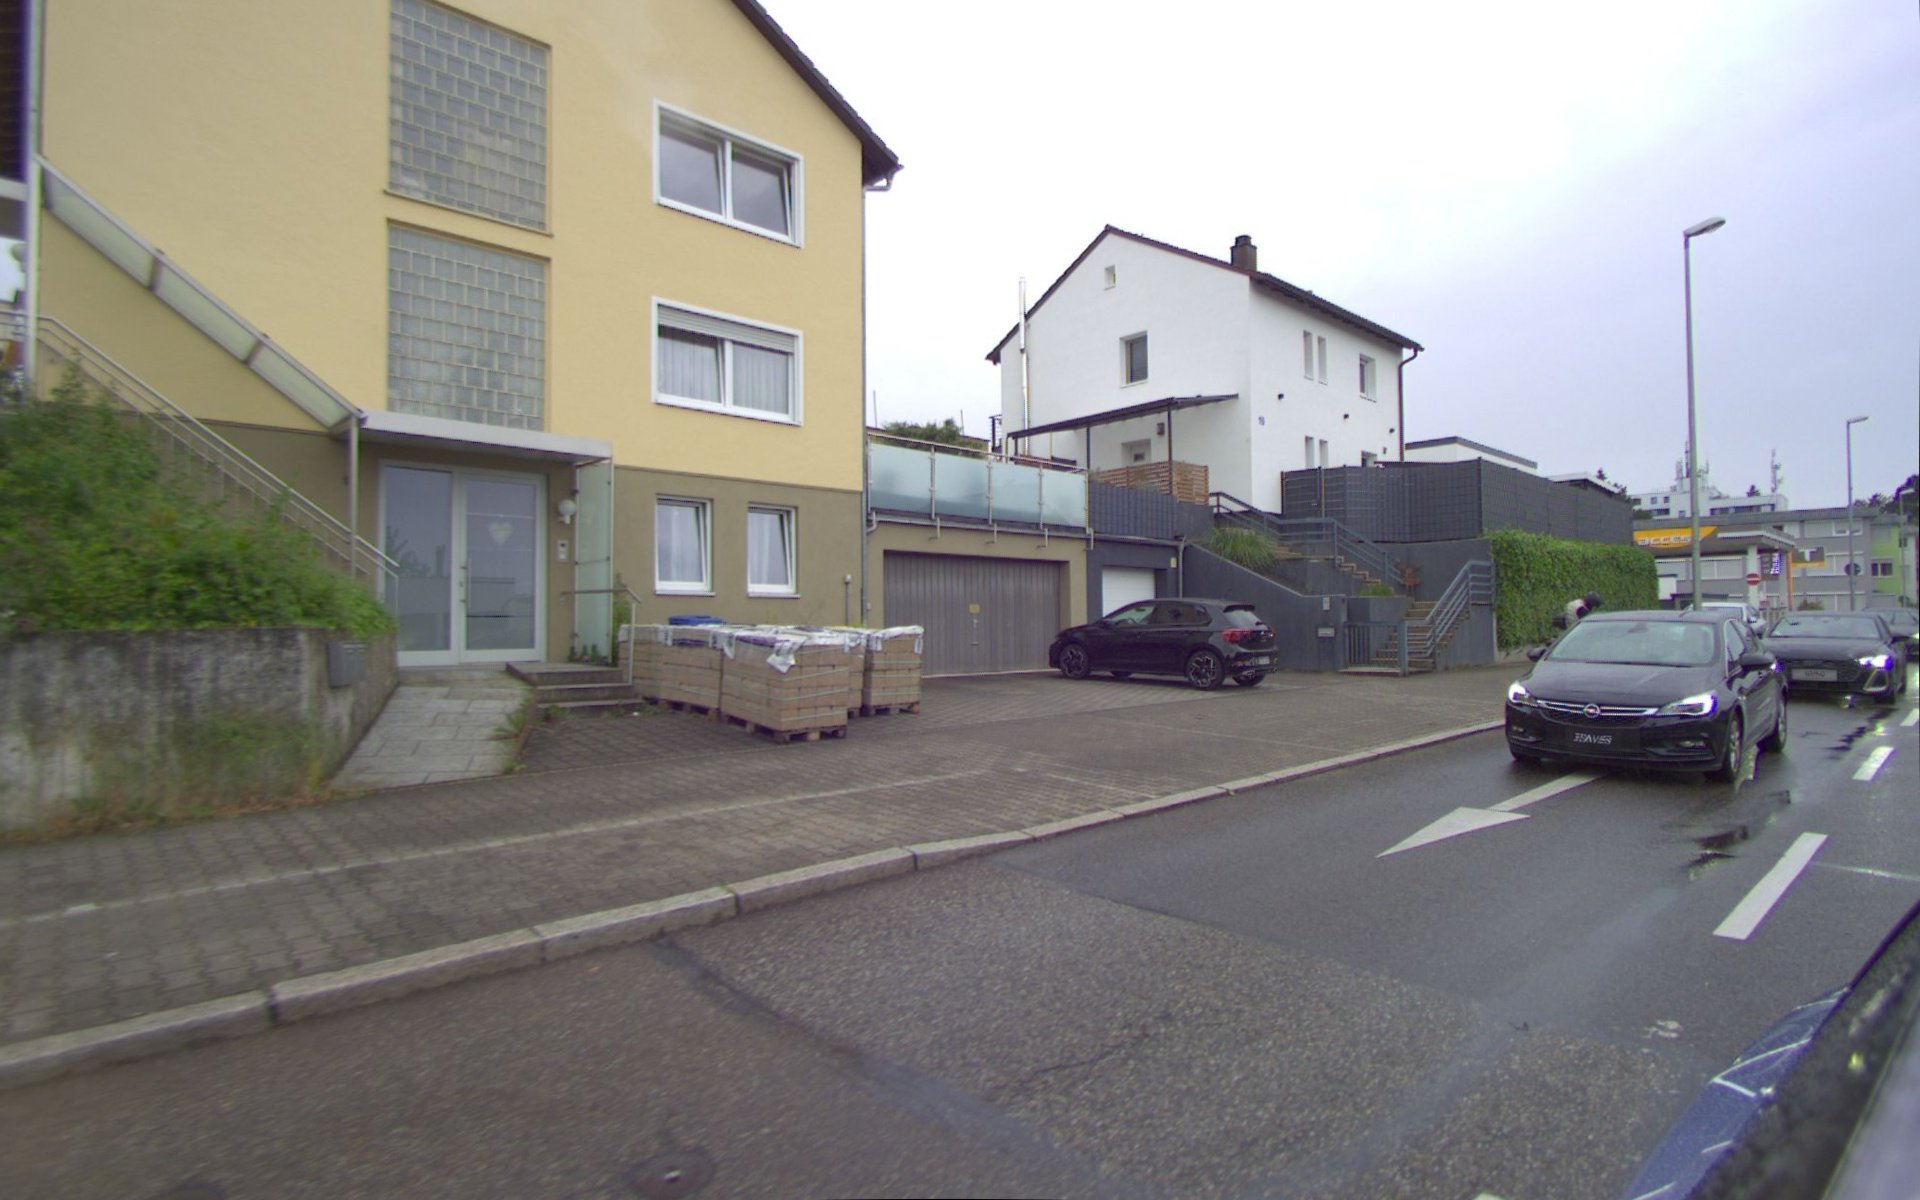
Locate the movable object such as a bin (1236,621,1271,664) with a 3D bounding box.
[{"bbox_3d":[6.197,0.888,21.368,0.520,0.890,0.513,0,0,-42],"label":"movable object such as a bin"}]

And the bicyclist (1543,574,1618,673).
[{"bbox_3d":[10.780,0.399,17.596,0.888,1.663,0.810,0,0,-33],"label":"bicyclist"}]

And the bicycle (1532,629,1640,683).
[{"bbox_3d":[10.957,0.957,17.688,2.190,0.837,0.734,0,0,-33],"label":"bicycle"}]

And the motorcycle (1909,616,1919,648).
[{"bbox_3d":[35.252,1.163,35.973,0.928,1.121,2.402,0,0,6],"label":"motorcycle"}]

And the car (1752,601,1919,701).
[{"bbox_3d":[14.987,0.743,16.967,4.773,1.416,1.908,0,0,-42],"label":"car"}]

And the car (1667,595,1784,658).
[{"bbox_3d":[20.021,0.634,26.424,3.931,1.508,1.735,0,0,-42],"label":"car"}]

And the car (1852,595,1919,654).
[{"bbox_3d":[27.076,0.740,29.009,3.930,1.476,1.838,5,-3,-42],"label":"car"}]

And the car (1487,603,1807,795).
[{"bbox_3d":[6.805,0.773,9.861,3.934,1.415,1.837,-1,1,-44],"label":"car"}]

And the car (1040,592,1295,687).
[{"bbox_3d":[3.445,0.586,17.193,3.984,1.421,1.648,0,0,42],"label":"car"}]
